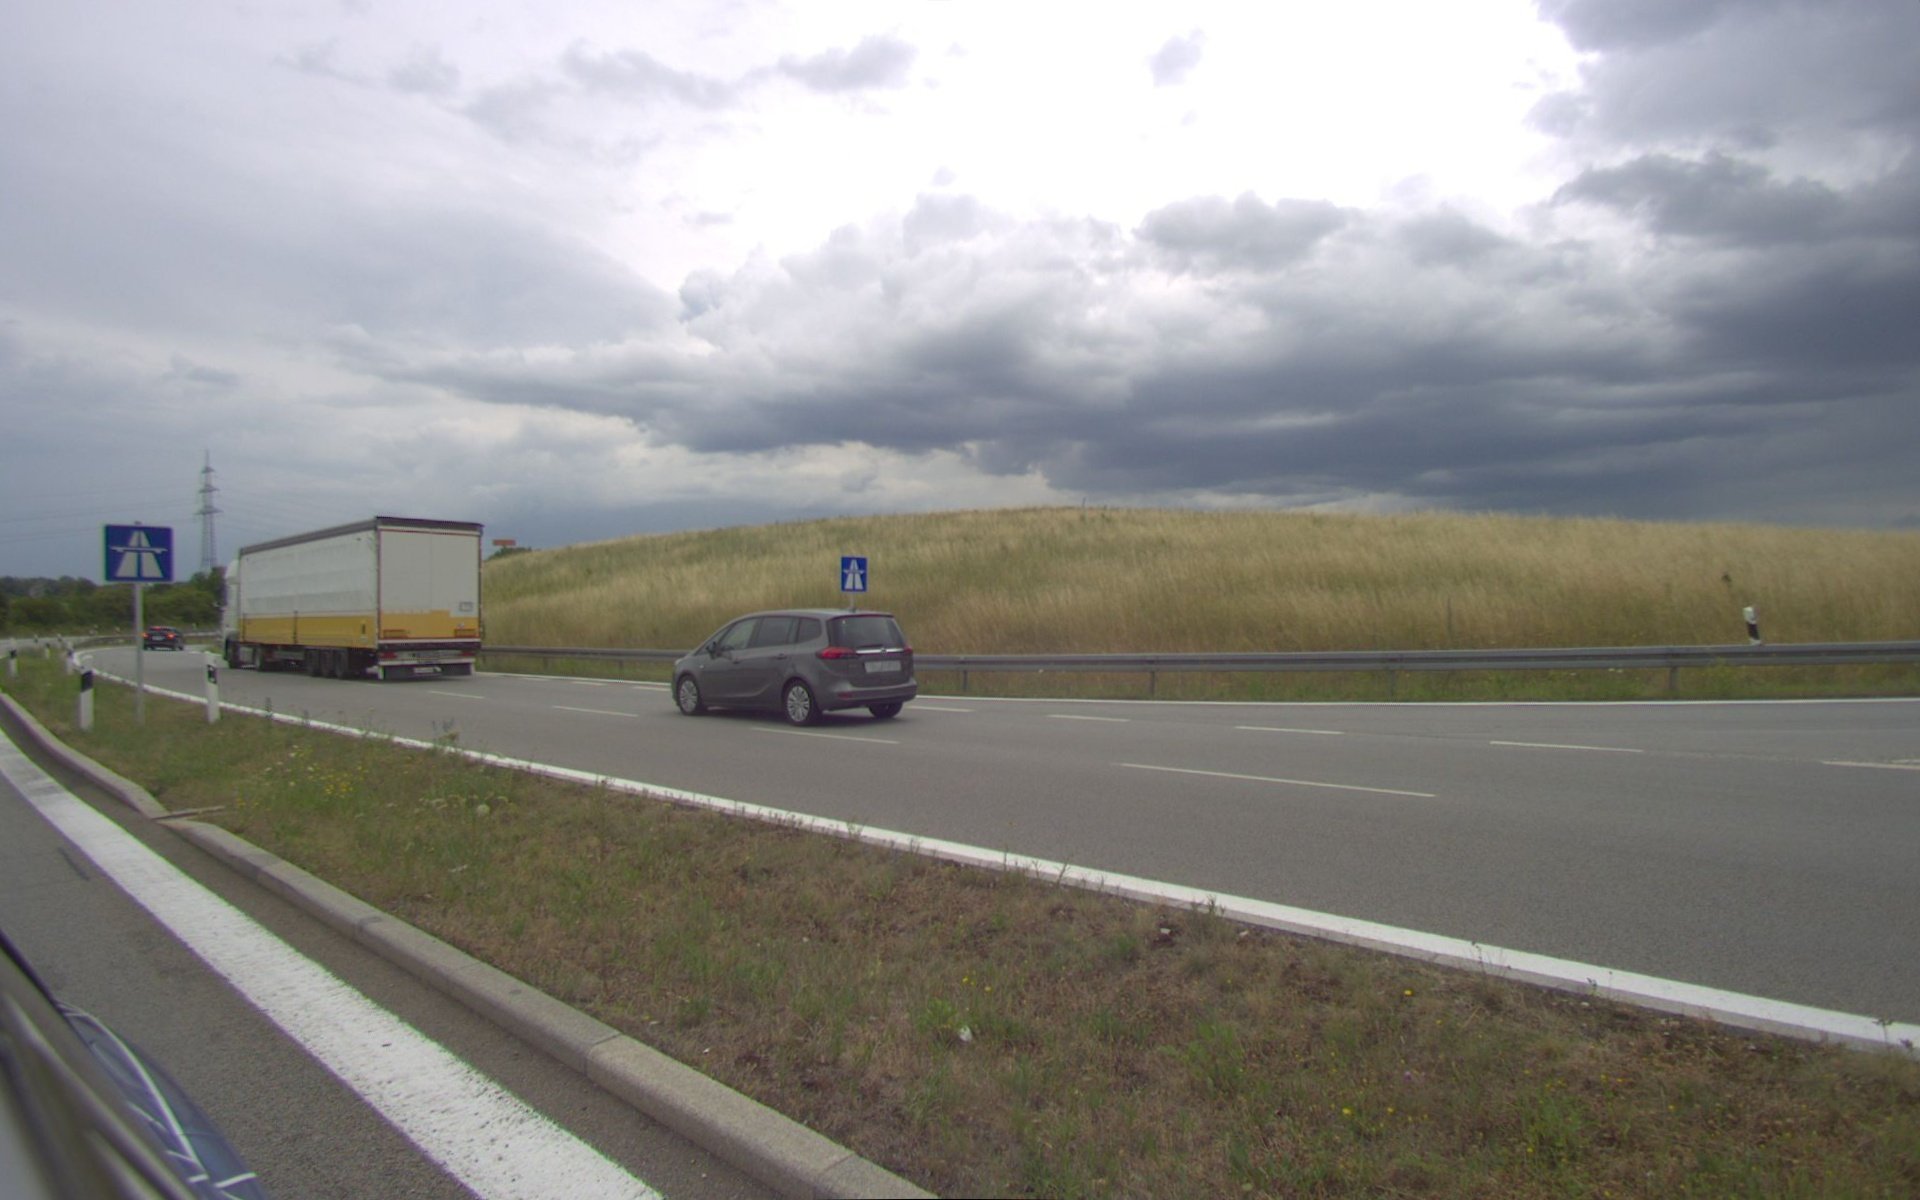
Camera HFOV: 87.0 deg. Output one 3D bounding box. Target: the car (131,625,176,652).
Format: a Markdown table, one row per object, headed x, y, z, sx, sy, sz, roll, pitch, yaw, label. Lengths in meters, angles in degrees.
| x | y | z | sx | sy | sz | roll | pitch | yaw | label |
| --- | --- | --- | --- | --- | --- | --- | --- | --- | --- |
| -54.383 | 2.576 | 68.185 | 1.970 | 1.696 | 4.116 | -1 | 0 | -44 | car |

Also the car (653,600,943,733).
| x | y | z | sx | sy | sz | roll | pitch | yaw | label |
| --- | --- | --- | --- | --- | --- | --- | --- | --- | --- |
| -2.567 | 0.888 | 15.388 | 4.453 | 1.707 | 1.973 | -1 | 0 | 41 | car |

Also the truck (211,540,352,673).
| x | y | z | sx | sy | sz | roll | pitch | yaw | label |
| --- | --- | --- | --- | --- | --- | --- | --- | --- | --- |
| -23.376 | 0.221 | 34.748 | 6.403 | 4.172 | 2.621 | -1 | 0 | 43 | truck |

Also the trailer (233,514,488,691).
| x | y | z | sx | sy | sz | roll | pitch | yaw | label |
| --- | --- | --- | --- | --- | --- | --- | --- | --- | --- |
| -18.253 | 0.106 | 30.021 | 13.840 | 4.242 | 2.663 | -1 | 0 | 43 | trailer |
